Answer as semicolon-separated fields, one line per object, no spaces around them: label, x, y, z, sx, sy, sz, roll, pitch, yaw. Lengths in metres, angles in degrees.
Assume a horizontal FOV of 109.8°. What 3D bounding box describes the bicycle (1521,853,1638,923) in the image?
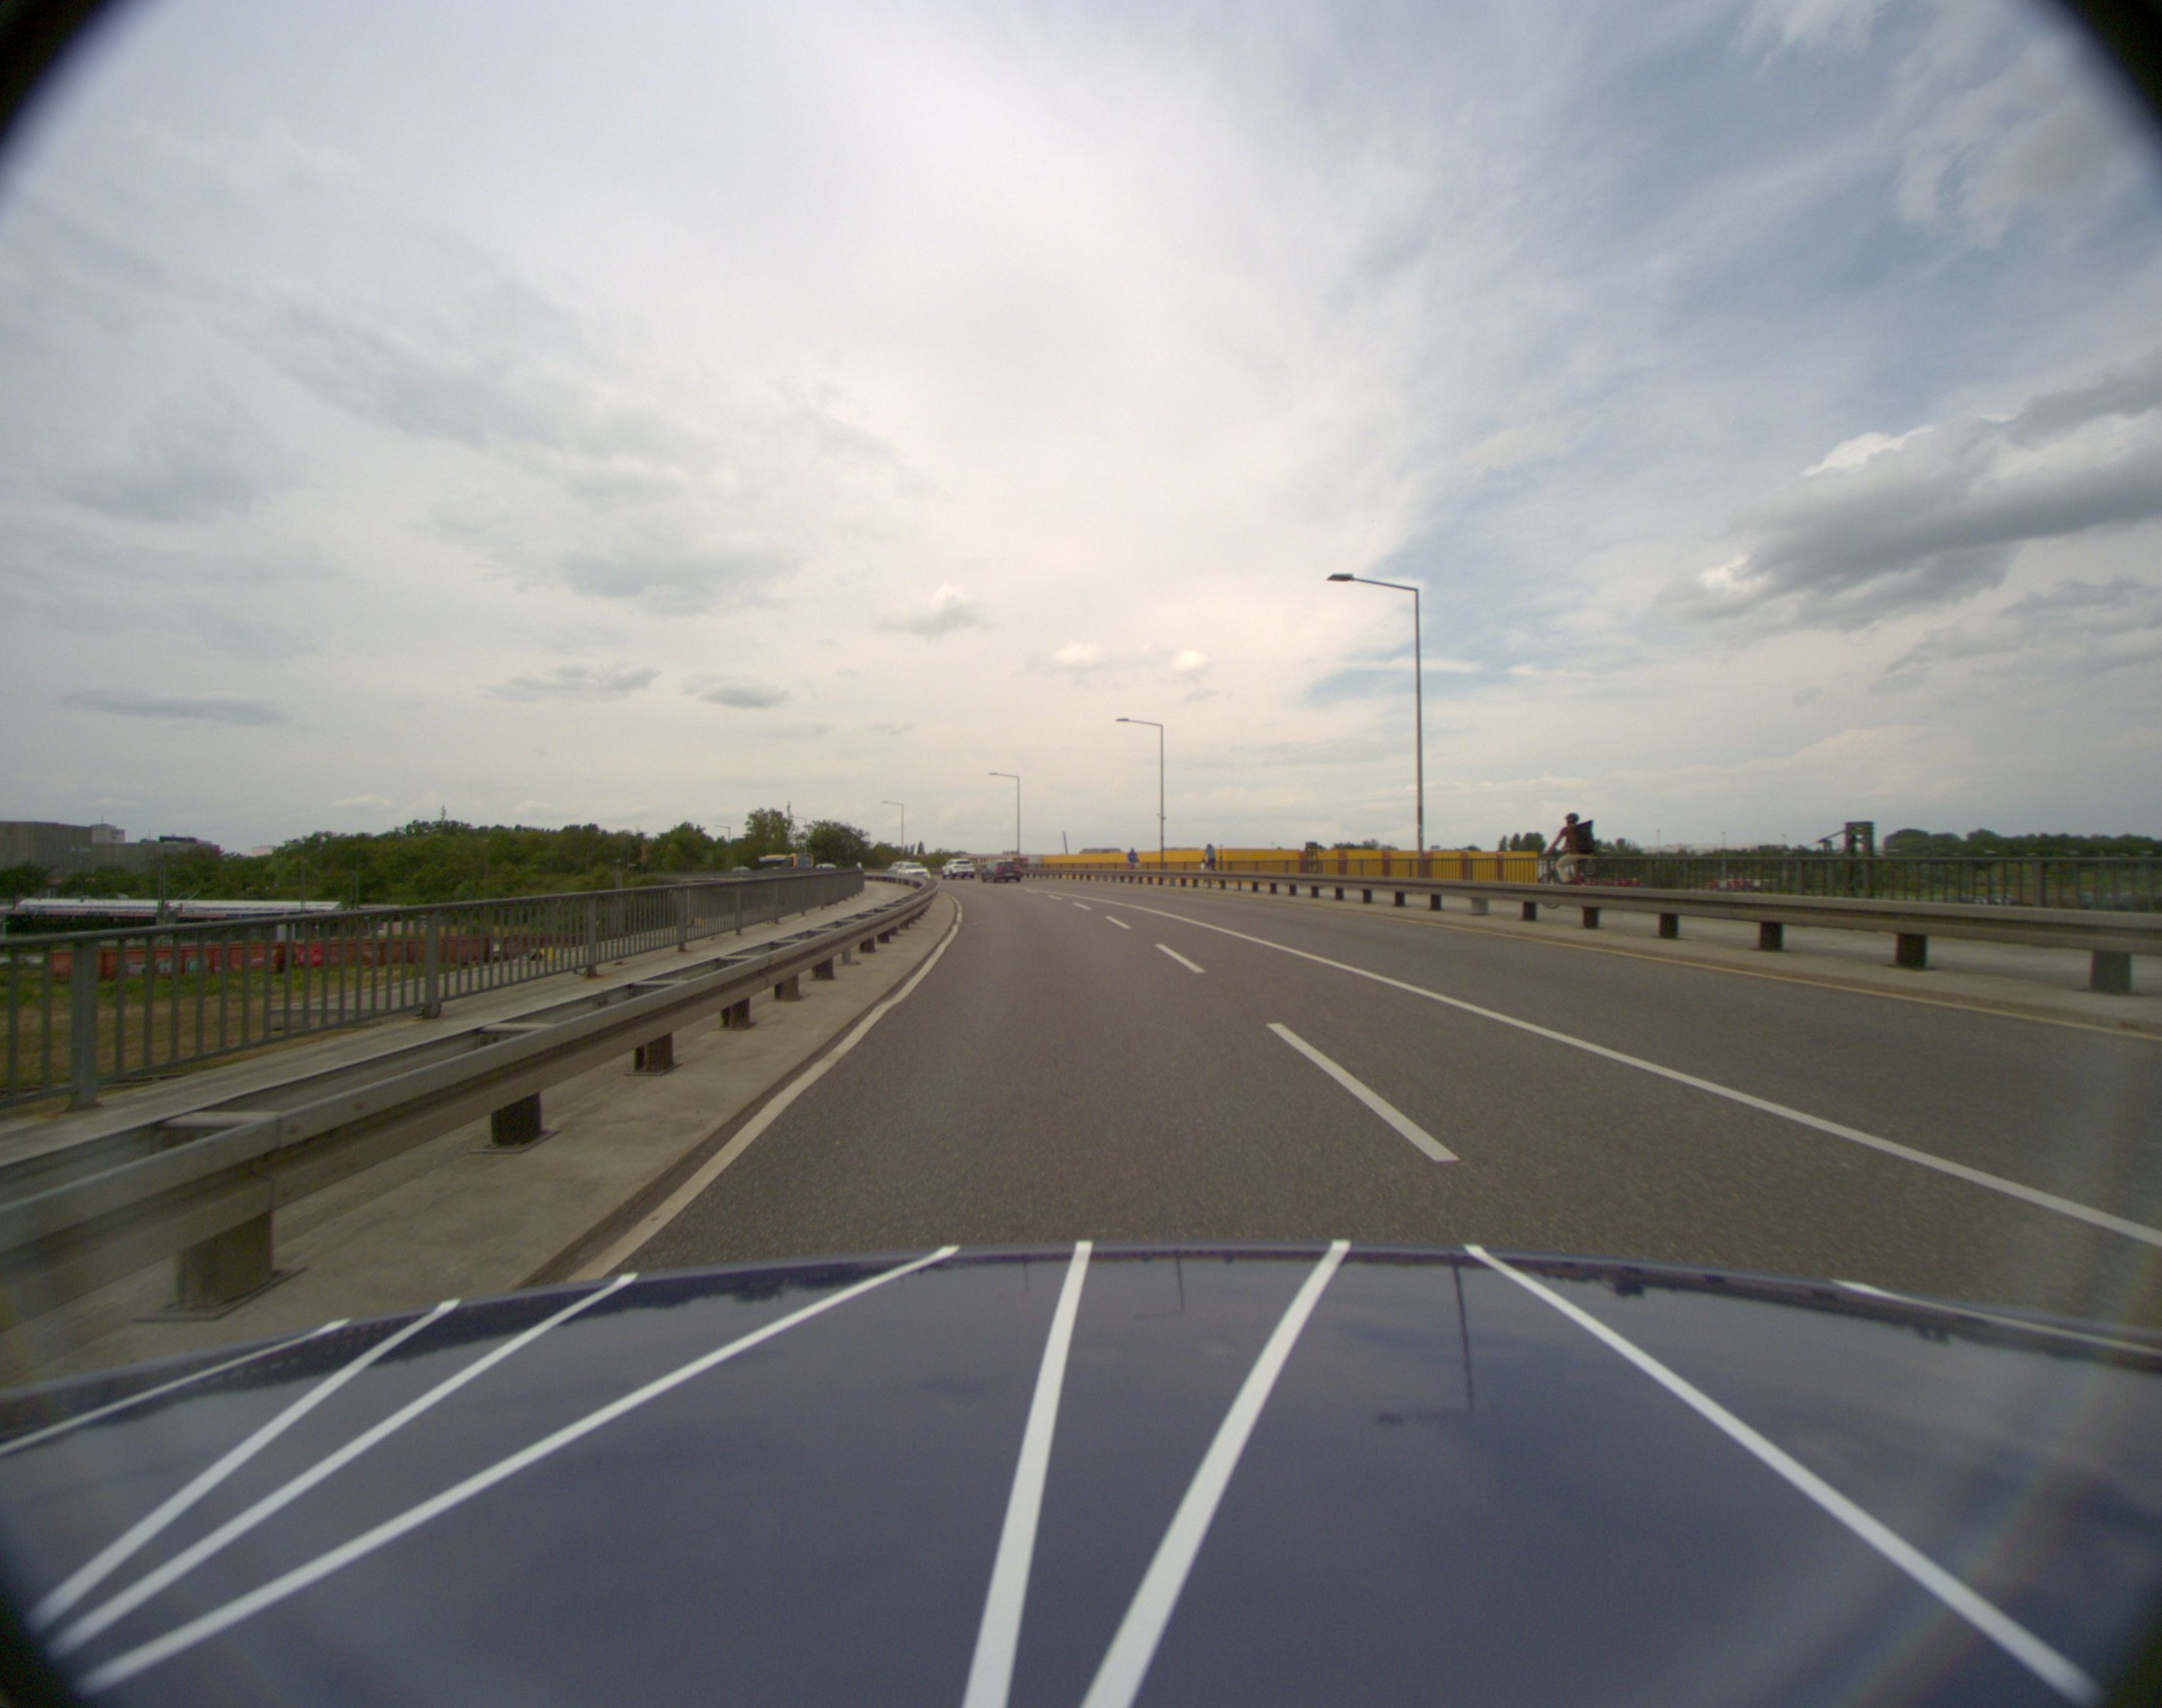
bicycle;9.054;0.581;13.898;0.637;1.167;1.904;-2;0;-10

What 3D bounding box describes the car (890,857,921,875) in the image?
car;-17.400;1.200;75.258;1.826;1.611;4.388;-2;0;-28

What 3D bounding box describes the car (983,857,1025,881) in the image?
car;-5.107;0.937;49.758;1.816;1.468;4.376;-2;0;-18

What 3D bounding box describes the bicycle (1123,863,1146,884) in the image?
bicycle;2.740;0.982;39.014;0.494;1.039;1.807;-2;1;-19

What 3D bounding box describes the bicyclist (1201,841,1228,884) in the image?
bicyclist;5.794;0.368;32.969;0.852;1.798;0.795;-2;1;-18

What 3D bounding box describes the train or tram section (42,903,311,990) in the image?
train or tram section;-74.373;7.448;63.129;13.925;5.645;3.836;-2;1;-24

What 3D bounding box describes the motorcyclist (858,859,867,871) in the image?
motorcyclist;-27.942;1.415;97.286;0.814;1.520;0.822;-3;1;-36

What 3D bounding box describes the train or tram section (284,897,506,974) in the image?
train or tram section;-61.336;7.168;68.627;14.273;5.566;3.652;-2;1;-23

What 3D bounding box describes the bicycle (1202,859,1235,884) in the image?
bicycle;5.931;0.731;32.832;0.648;1.061;1.759;-1;0;-17

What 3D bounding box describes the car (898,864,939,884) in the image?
car;-12.787;1.546;59.579;1.941;1.448;3.877;-3;0;-30

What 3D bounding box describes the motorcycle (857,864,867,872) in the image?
motorcycle;-28.068;1.785;97.453;0.629;0.957;1.835;-3;1;-34

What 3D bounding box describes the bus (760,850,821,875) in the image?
bus;-39.837;1.204;103.843;3.047;3.214;12.915;-3;1;-43

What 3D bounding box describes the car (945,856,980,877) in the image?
car;-9.611;0.969;61.440;1.948;1.584;4.766;-2;0;-19

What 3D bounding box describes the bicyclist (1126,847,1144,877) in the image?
bicyclist;2.765;0.420;39.028;0.612;1.531;0.756;-2;1;-20

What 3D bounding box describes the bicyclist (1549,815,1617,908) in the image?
bicyclist;9.071;0.122;13.738;0.774;1.622;0.648;-2;2;-7
